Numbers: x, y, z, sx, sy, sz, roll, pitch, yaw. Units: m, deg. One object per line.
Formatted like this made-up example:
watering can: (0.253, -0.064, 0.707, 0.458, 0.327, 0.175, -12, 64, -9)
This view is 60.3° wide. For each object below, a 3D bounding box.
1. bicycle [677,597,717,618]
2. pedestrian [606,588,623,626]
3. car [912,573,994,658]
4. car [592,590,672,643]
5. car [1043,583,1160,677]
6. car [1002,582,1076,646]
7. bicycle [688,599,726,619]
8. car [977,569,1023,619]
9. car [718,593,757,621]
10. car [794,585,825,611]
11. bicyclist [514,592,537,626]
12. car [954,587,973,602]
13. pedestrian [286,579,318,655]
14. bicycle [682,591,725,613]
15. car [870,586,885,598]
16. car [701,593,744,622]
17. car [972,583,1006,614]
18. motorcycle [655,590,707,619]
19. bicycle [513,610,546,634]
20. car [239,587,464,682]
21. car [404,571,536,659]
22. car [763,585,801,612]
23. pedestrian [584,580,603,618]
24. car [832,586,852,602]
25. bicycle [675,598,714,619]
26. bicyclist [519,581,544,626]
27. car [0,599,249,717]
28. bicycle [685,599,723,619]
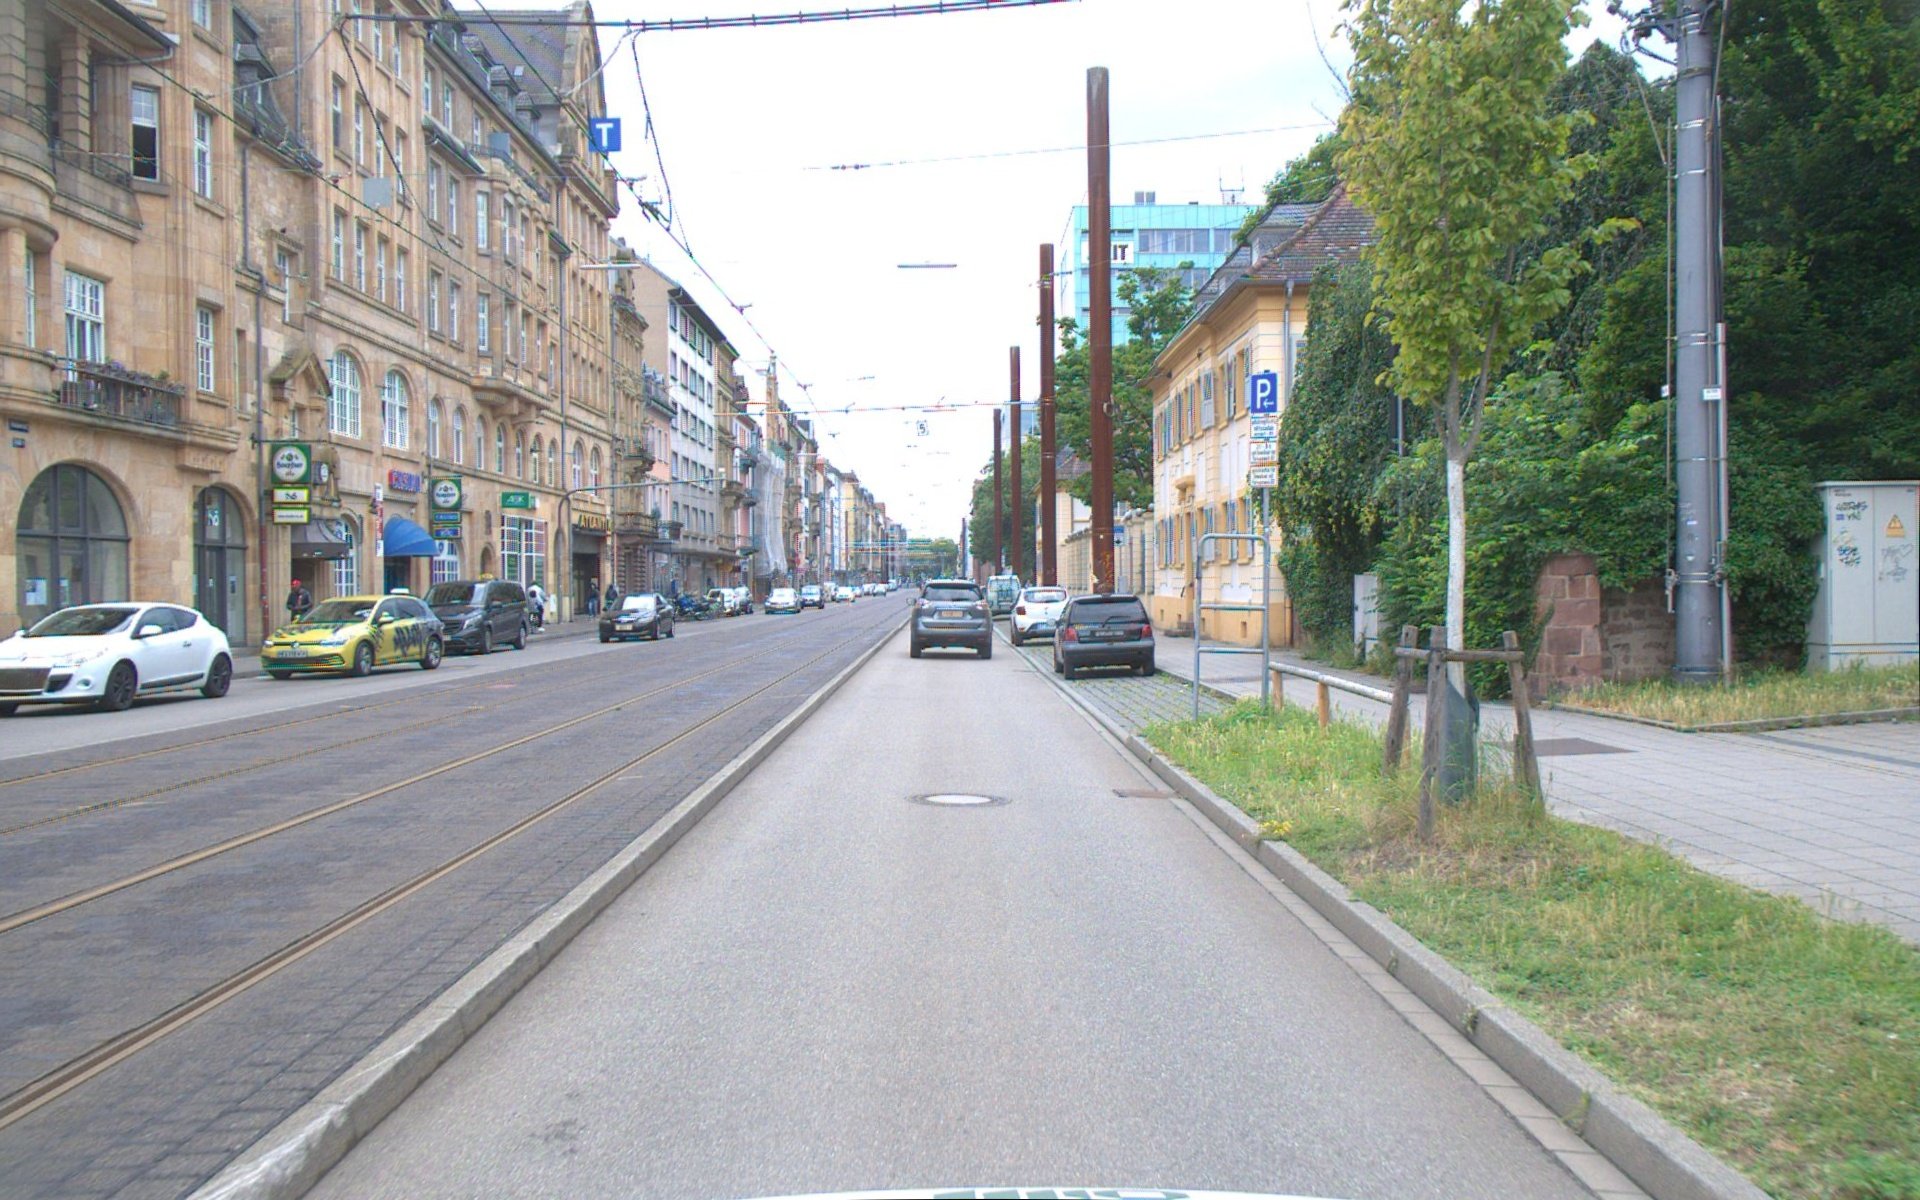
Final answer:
bicycle: (-13.067, 0.386, 82.099, 1.929, 1.018, 0.462, -1, 0, -9)
pedestrian: (-14.734, 0.293, 70.614, 0.556, 1.626, 0.718, -1, 0, -1)
car: (-0.175, 0.306, 37.133, 1.714, 1.786, 3.923, 1, 0, -1)
car: (-9.927, 0.461, 50.300, 1.791, 1.458, 4.662, -3, 1, -5)
car: (2.440, 0.477, 29.344, 1.604, 1.458, 3.930, -3, 1, -1)
car: (2.131, 0.348, 45.740, 1.720, 1.602, 3.930, -3, 1, -1)
bicycle: (-13.102, 0.480, 85.730, 1.929, 1.018, 0.462, -1, 0, -9)
car: (1.839, -0.296, 77.569, 1.814, 2.151, 4.983, -3, 0, -1)
car: (-13.087, 0.388, 97.442, 1.740, 1.531, 4.401, -1, 0, -1)
car: (-10.379, -0.145, 114.497, 1.723, 1.701, 4.614, -1, 0, -1)
bicyclist: (-14.644, 0.297, 55.805, 0.598, 1.137, 0.659, 0, 0, -1)
car: (0.316, -0.533, 159.142, 1.740, 1.445, 4.134, -1, 0, -1)
pedestrian: (-15.346, 0.385, 38.586, 0.485, 1.758, 0.765, -1, 0, -4)
bicycle: (-13.543, 0.097, 87.309, 2.189, 1.146, 0.503, -1, 0, -9)
car: (-11.678, -1.152, 233.871, 1.954, 1.663, 3.997, 0, -1, -4)
car: (-13.045, 0.381, 91.005, 1.740, 1.531, 4.401, -1, 0, -1)
car: (1.588, -0.101, 91.986, 1.714, 1.623, 3.923, -3, 0, -1)
motorcycle: (-13.313, 0.217, 78.998, 2.319, 1.325, 0.872, -1, 0, -38)
bicycle: (-14.644, 0.727, 56.282, 0.570, 0.758, 2.250, 0, 1, -1)
car: (-11.208, 0.589, 30.823, 1.858, 1.537, 4.432, -2, 1, 11)
car: (-12.495, 0.340, 42.508, 1.860, 2.011, 5.096, -3, 1, -1)
car: (-10.300, -0.110, 95.782, 1.723, 1.474, 4.614, -1, 0, -1)
pedestrian: (-16.223, -0.046, 73.175, 0.671, 1.641, 0.742, 0, 0, -1)
car: (-11.237, -0.605, 157.672, 1.653, 1.445, 4.134, -1, 0, -1)
bicycle: (-13.057, 0.404, 81.268, 1.885, 1.018, 0.462, -1, 0, -9)
bicyclist: (-14.673, 0.111, 56.622, 0.598, 1.513, 0.972, 0, 0, -1)
car: (-11.667, 0.722, 22.654, 1.886, 1.404, 4.259, -1, 1, 2)
bicycle: (-13.377, 0.477, 86.405, 1.929, 1.018, 0.462, -1, 0, -9)
